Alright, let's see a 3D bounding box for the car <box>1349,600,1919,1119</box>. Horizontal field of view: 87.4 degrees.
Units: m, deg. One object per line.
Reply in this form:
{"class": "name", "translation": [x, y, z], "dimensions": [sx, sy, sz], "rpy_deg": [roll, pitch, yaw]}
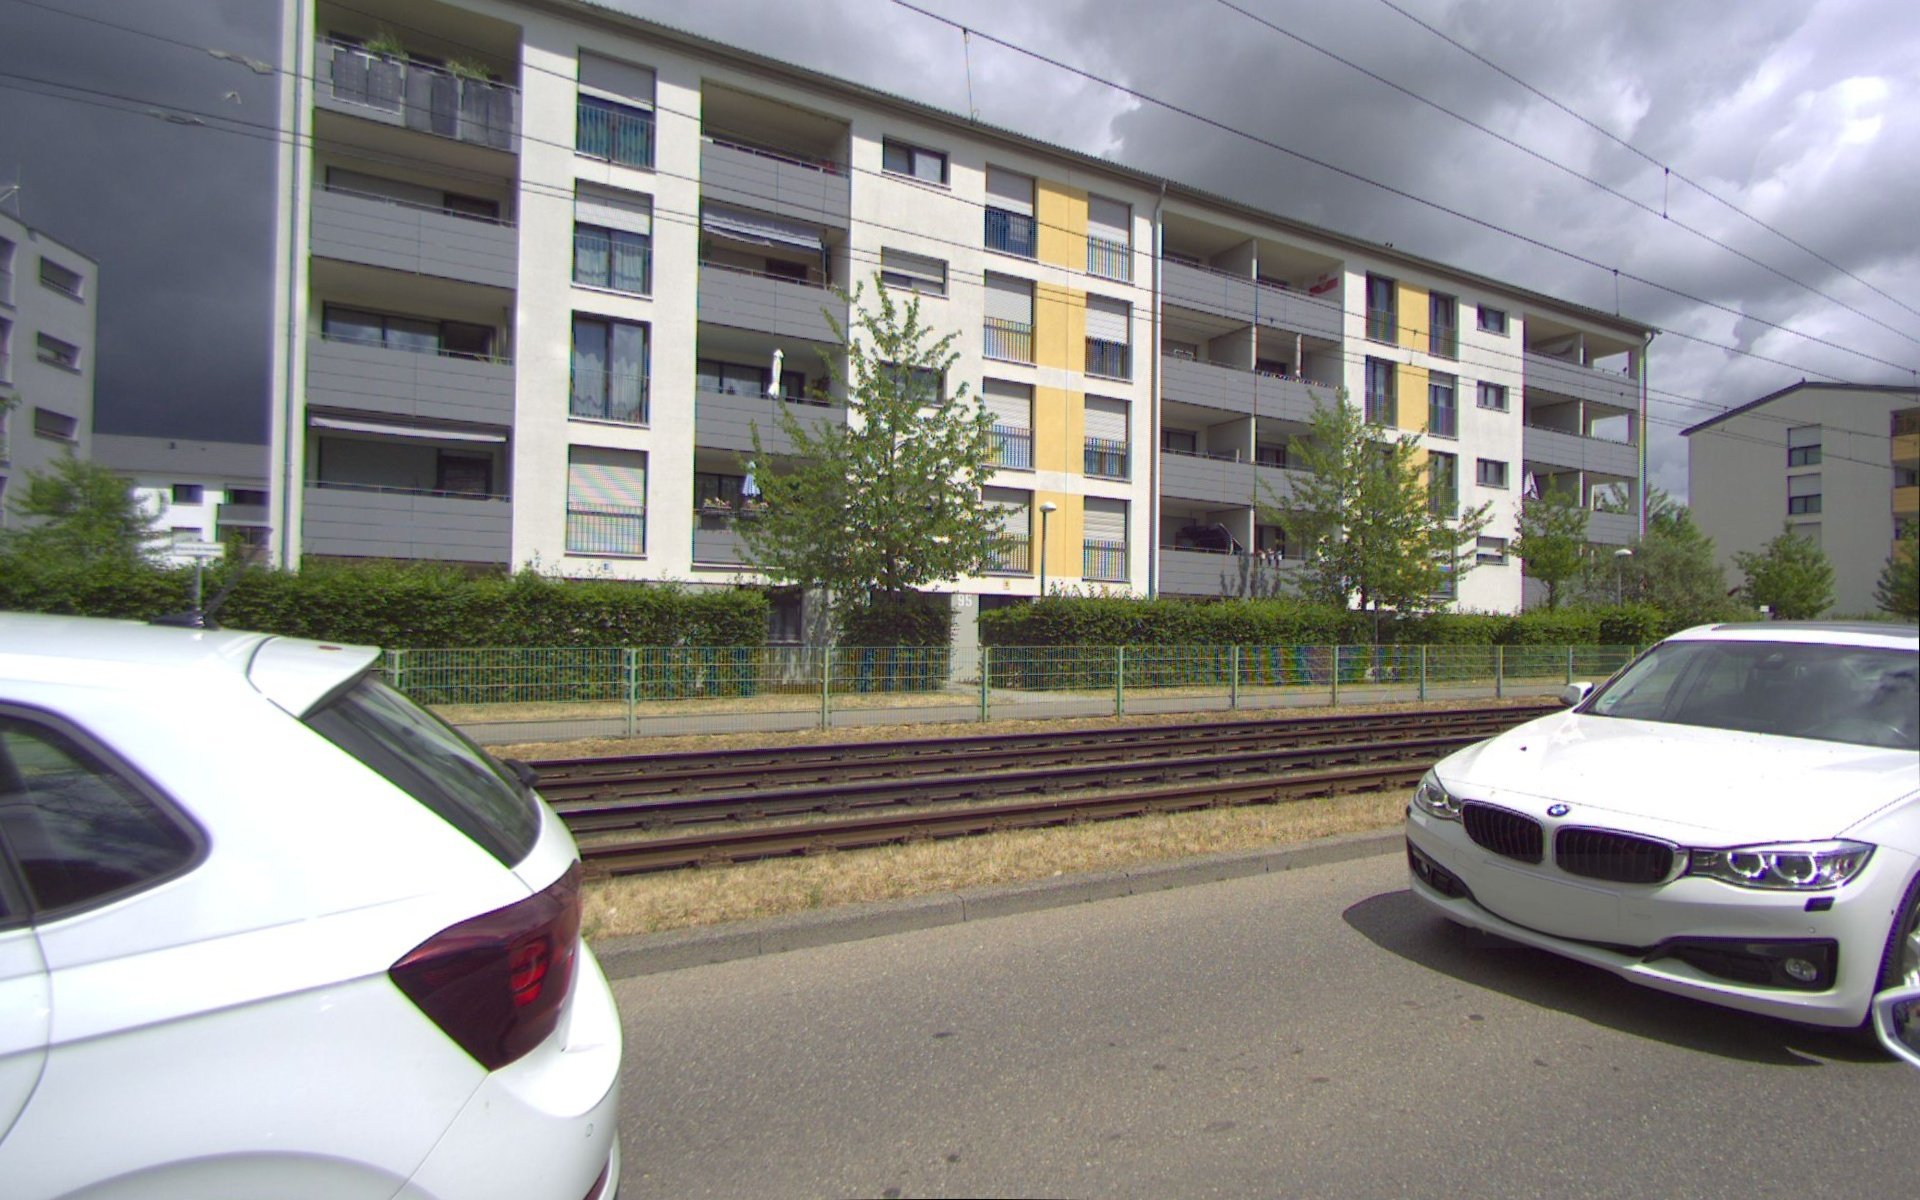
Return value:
{"class": "car", "translation": [4.278, 0.820, 4.982], "dimensions": [4.780, 1.522, 1.808], "rpy_deg": [1, 0, -31]}

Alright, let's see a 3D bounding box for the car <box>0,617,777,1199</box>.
{"class": "car", "translation": [-2.412, 0.731, 1.394], "dimensions": [3.896, 1.425, 1.737], "rpy_deg": [1, -1, -31]}

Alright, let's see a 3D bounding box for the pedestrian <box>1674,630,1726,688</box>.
{"class": "pedestrian", "translation": [19.796, 1.553, 26.858], "dimensions": [0.984, 1.503, 0.792], "rpy_deg": [1, -1, -30]}
